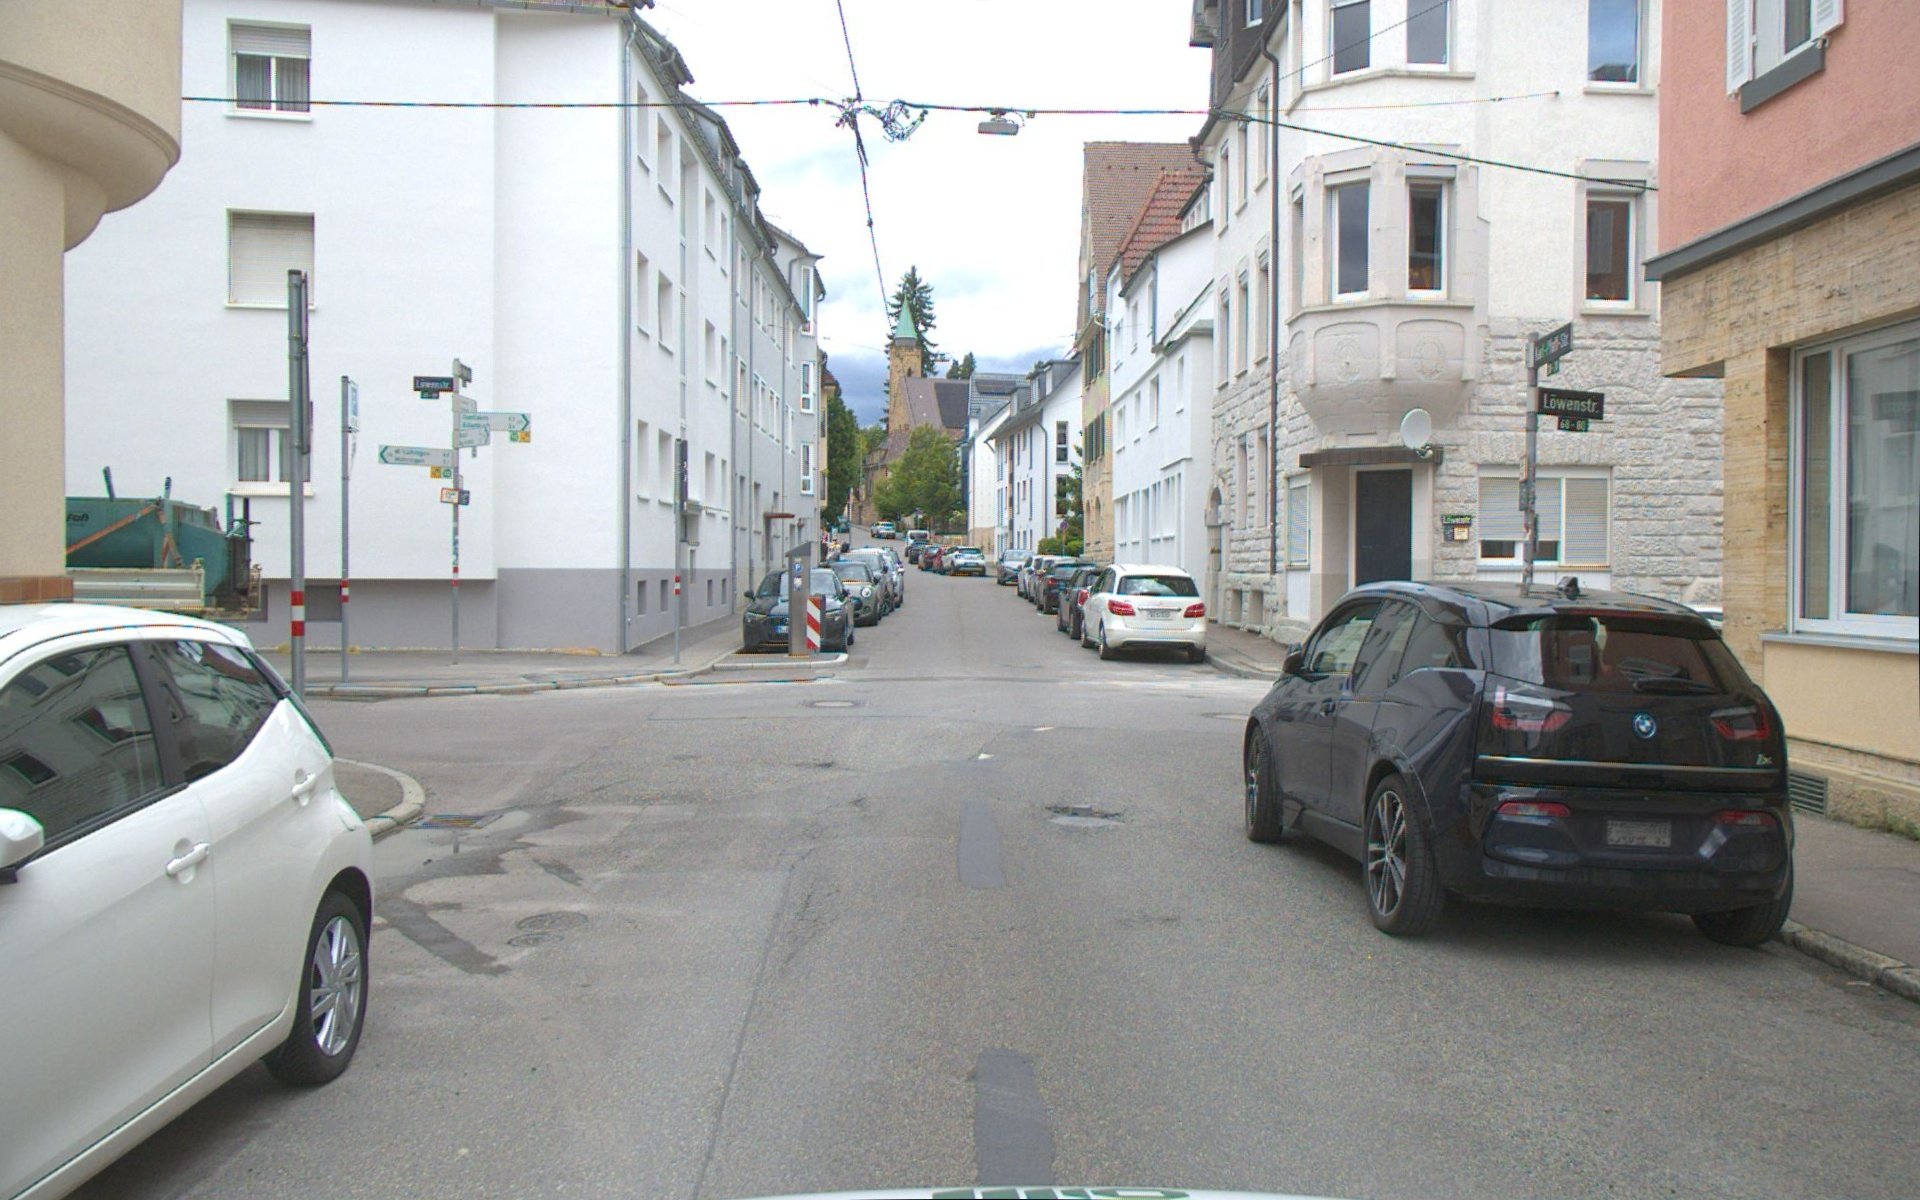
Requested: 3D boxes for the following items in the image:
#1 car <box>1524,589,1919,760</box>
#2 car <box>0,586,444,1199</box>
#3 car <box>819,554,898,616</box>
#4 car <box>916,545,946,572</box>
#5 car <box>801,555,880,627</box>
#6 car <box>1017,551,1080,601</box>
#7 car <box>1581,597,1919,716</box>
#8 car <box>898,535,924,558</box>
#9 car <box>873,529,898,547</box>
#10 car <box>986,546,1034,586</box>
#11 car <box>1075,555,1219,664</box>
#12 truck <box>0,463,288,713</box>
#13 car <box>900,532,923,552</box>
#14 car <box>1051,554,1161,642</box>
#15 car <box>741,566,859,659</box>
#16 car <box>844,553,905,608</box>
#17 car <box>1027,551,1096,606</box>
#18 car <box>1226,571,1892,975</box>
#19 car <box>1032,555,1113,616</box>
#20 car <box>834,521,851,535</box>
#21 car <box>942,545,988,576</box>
[{"bbox_3d":[7.688,0.714,16.440,3.547,1.505,1.670,2,1,-9],"label":"car"},{"bbox_3d":[-2.617,0.719,3.868,1.633,1.459,3.815,-1,0,0],"label":"car"},{"bbox_3d":[-2.602,-0.418,43.037,1.694,1.495,3.721,-1,2,2],"label":"car"},{"bbox_3d":[-1.727,-2.446,97.460,1.634,1.505,3.625,1,3,-3],"label":"car"},{"bbox_3d":[-2.712,-0.247,38.237,1.695,1.515,3.718,-1,2,-2],"label":"car"},{"bbox_3d":[2.904,-0.828,54.924,1.634,1.504,3.625,2,3,-3],"label":"car"},{"bbox_3d":[11.041,0.771,23.049,4.148,1.438,1.701,2,1,-9],"label":"car"},{"bbox_3d":[-3.410,-3.704,114.412,1.634,1.505,3.625,1,3,-3],"label":"car"},{"bbox_3d":[-7.417,-6.235,164.935,2.141,1.722,3.620,0,3,-8],"label":"car"},{"bbox_3d":[2.028,-1.431,68.099,1.634,1.504,3.625,2,3,-3],"label":"car"},{"bbox_3d":[3.157,0.105,28.738,1.784,1.626,4.026,2,3,-3],"label":"car"},{"bbox_3d":[-10.937,-0.121,18.196,6.150,2.596,2.314,0,0,-8],"label":"truck"},{"bbox_3d":[-3.711,-4.420,126.138,1.634,1.505,3.625,1,3,-3],"label":"car"},{"bbox_3d":[2.919,-0.083,33.784,1.634,1.559,4.026,2,3,-3],"label":"car"},{"bbox_3d":[-2.724,0.161,28.982,1.783,1.415,4.297,-1,2,-2],"label":"car"},{"bbox_3d":[-2.467,-0.601,48.222,1.695,1.473,3.718,-1,2,-2],"label":"car"},{"bbox_3d":[3.044,-0.689,50.254,1.634,1.504,3.625,2,3,-3],"label":"car"},{"bbox_3d":[2.730,0.677,8.619,1.782,1.570,4.025,2,0,-3],"label":"car"},{"bbox_3d":[2.950,-0.421,44.109,1.634,1.409,4.026,2,3,-3],"label":"car"},{"bbox_3d":[-12.443,-7.620,175.027,1.636,1.505,3.620,0,3,-8],"label":"car"},{"bbox_3d":[0.242,-2.063,86.500,1.752,1.505,3.618,0,3,-10],"label":"car"}]
